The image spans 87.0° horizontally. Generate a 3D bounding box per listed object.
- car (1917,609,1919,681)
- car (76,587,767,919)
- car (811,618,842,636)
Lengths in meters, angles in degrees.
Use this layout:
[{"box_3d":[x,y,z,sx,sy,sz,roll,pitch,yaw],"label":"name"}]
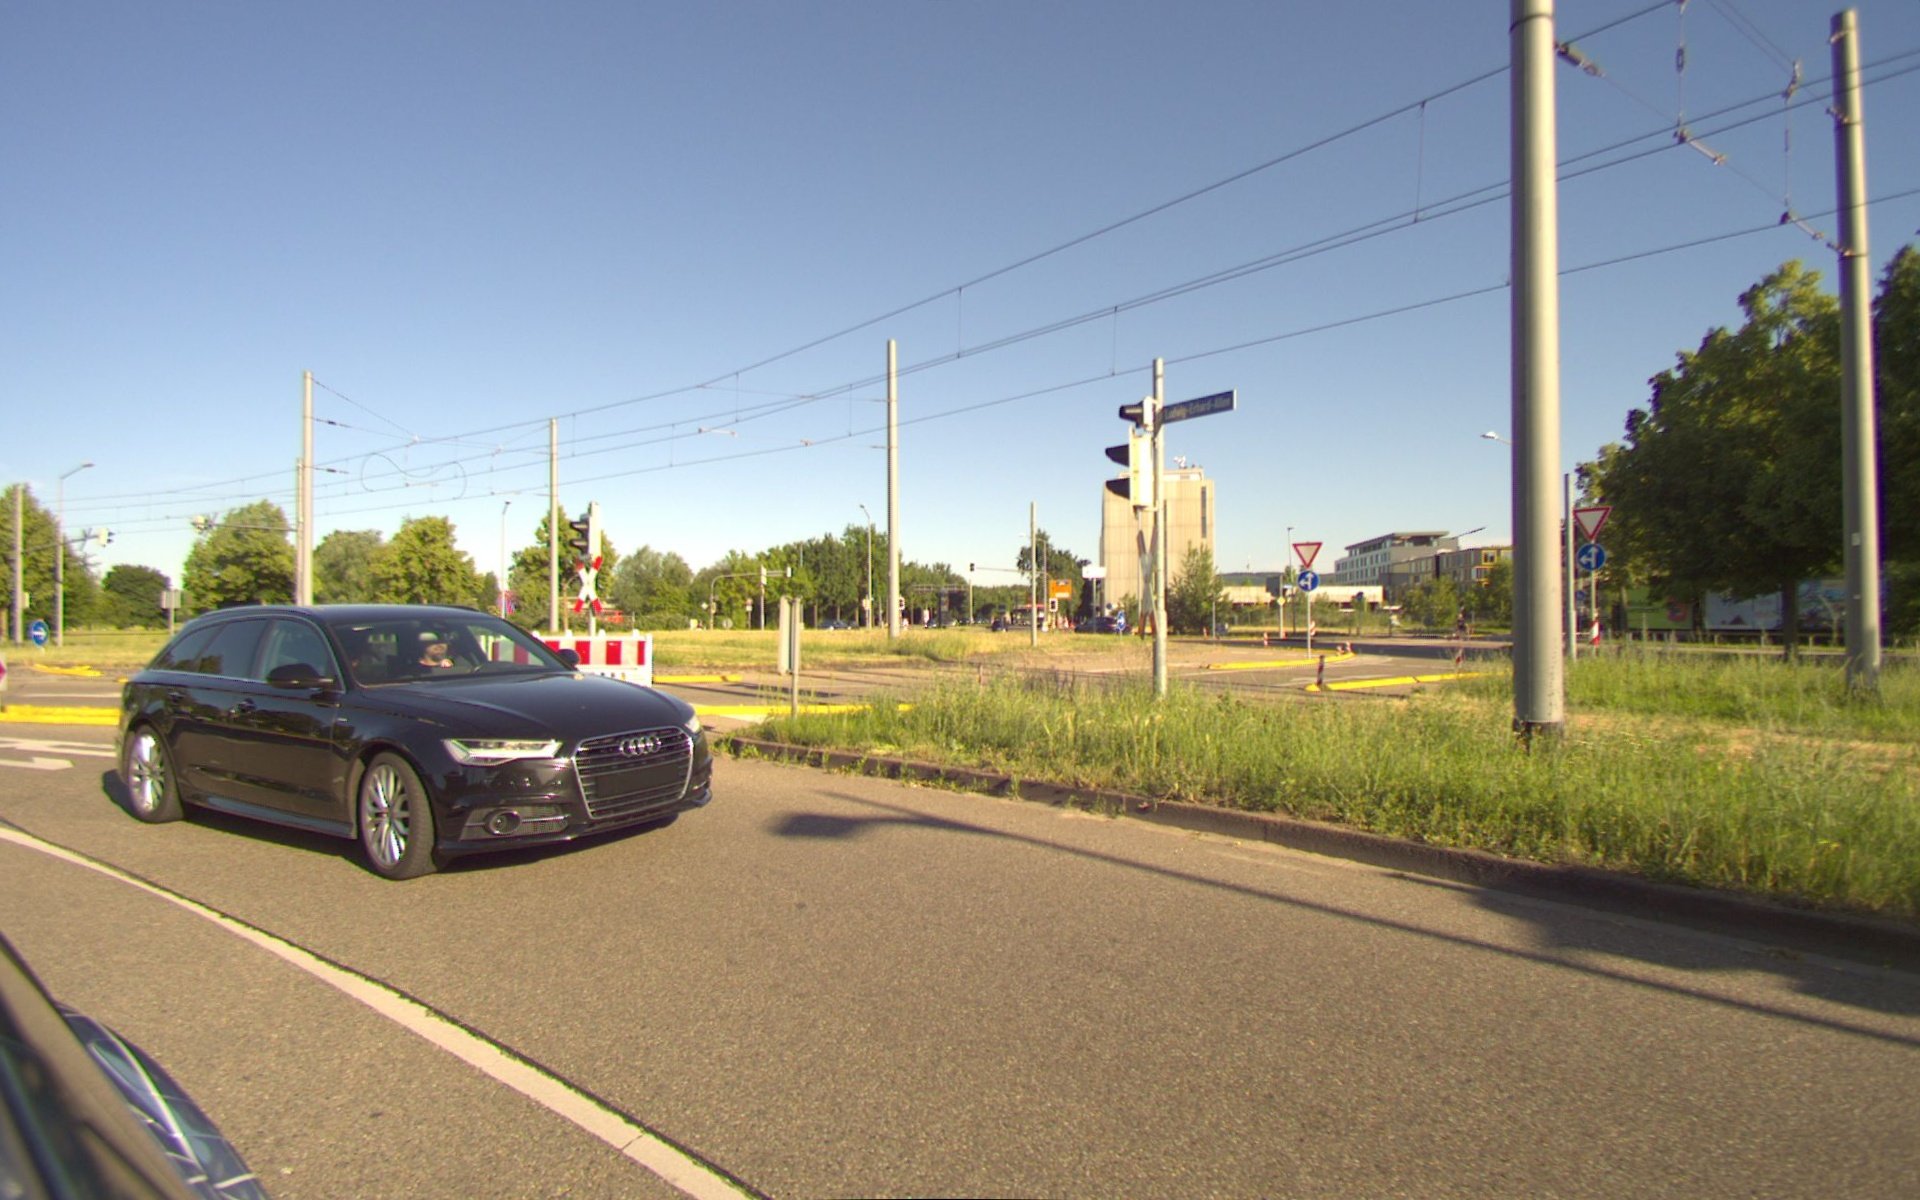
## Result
[{"box_3d":[18.425,0.799,16.574,1.636,1.274,3.633,0,0,-23],"label":"car"},{"box_3d":[-3.620,0.711,6.594,4.581,1.538,1.773,0,0,29],"label":"car"},{"box_3d":[-11.490,2.300,87.422,1.781,1.439,4.003,0,0,7],"label":"car"}]
